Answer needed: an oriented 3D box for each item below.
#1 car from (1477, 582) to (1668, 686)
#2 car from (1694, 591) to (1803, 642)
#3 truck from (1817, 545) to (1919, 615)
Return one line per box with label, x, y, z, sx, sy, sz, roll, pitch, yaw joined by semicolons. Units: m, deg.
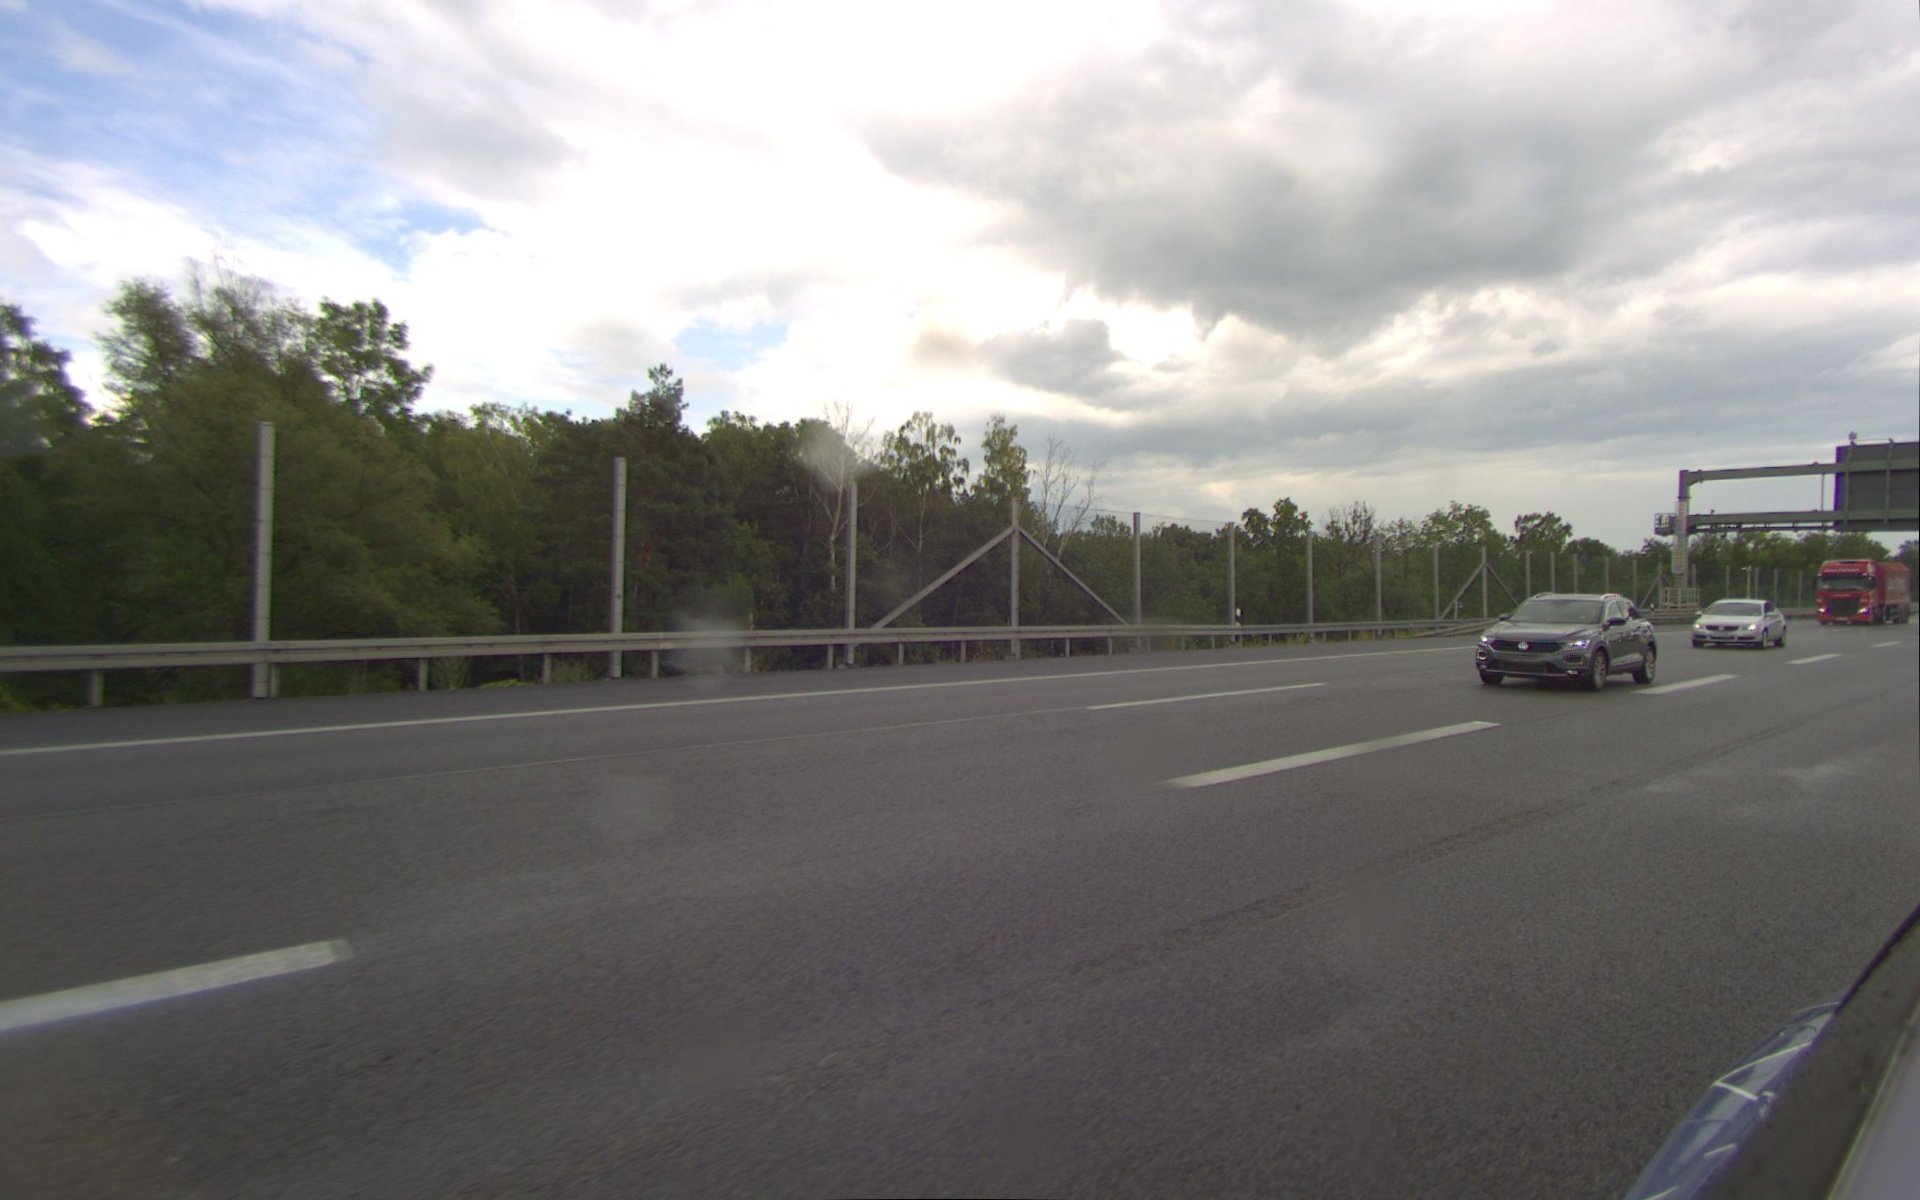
car;10.473;0.484;17.225;3.657;1.582;1.795;-1;1;-42
car;24.176;0.459;30.992;4.172;1.465;1.896;0;0;-41
truck;58.274;-1.196;64.099;15.352;4.054;3.160;0;1;-39
